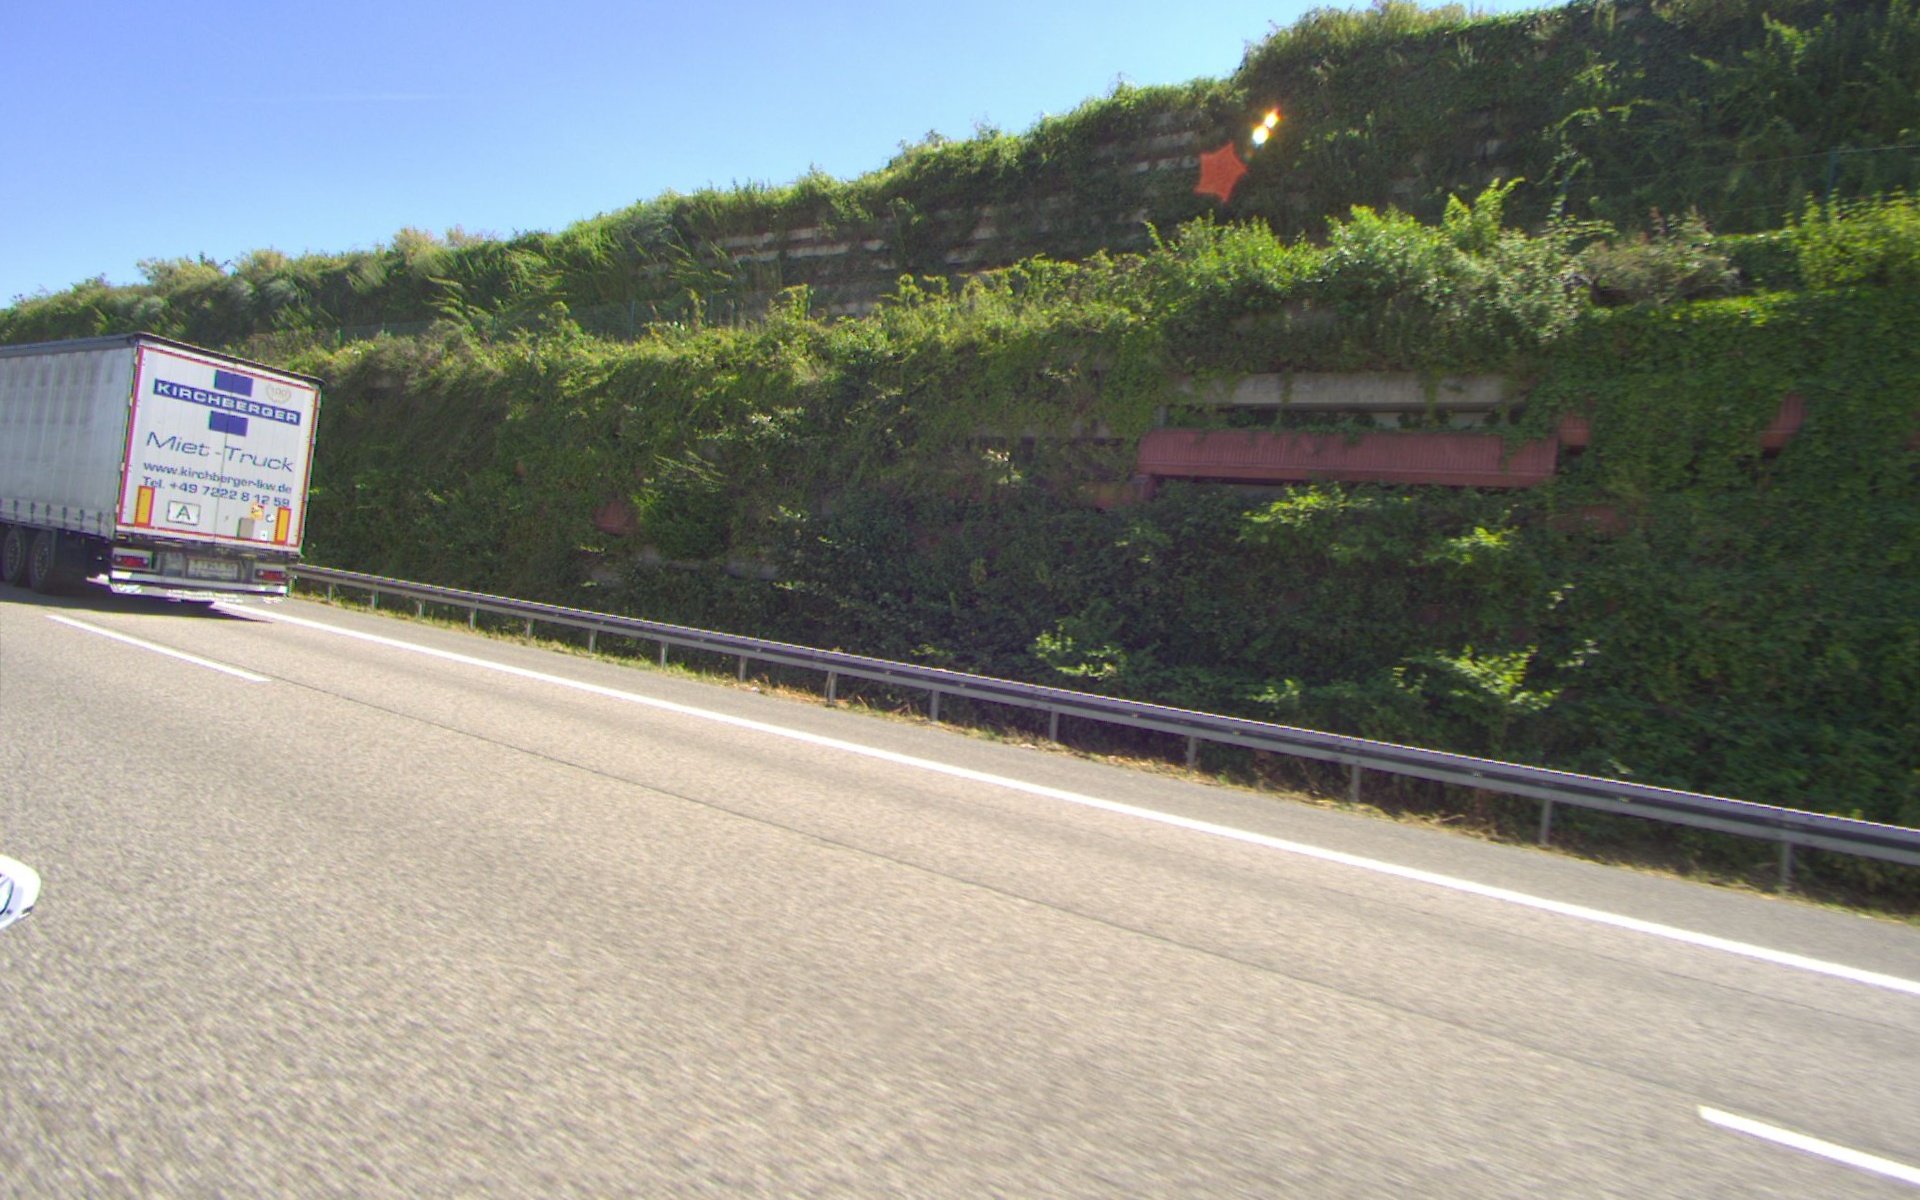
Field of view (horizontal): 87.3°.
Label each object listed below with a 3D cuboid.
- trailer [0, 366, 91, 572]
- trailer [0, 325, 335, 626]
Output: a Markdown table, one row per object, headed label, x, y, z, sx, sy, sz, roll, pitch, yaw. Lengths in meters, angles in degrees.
| label | x | y | z | sx | sy | sz | roll | pitch | yaw |
| --- | --- | --- | --- | --- | --- | --- | --- | --- | --- |
| trailer | -22.902 | -3.102 | 22.777 | 6.676 | 4.153 | 2.716 | 7 | 0 | 32 |
| trailer | -16.756 | -2.371 | 18.936 | 12.971 | 4.153 | 2.732 | 7 | 0 | 32 |
